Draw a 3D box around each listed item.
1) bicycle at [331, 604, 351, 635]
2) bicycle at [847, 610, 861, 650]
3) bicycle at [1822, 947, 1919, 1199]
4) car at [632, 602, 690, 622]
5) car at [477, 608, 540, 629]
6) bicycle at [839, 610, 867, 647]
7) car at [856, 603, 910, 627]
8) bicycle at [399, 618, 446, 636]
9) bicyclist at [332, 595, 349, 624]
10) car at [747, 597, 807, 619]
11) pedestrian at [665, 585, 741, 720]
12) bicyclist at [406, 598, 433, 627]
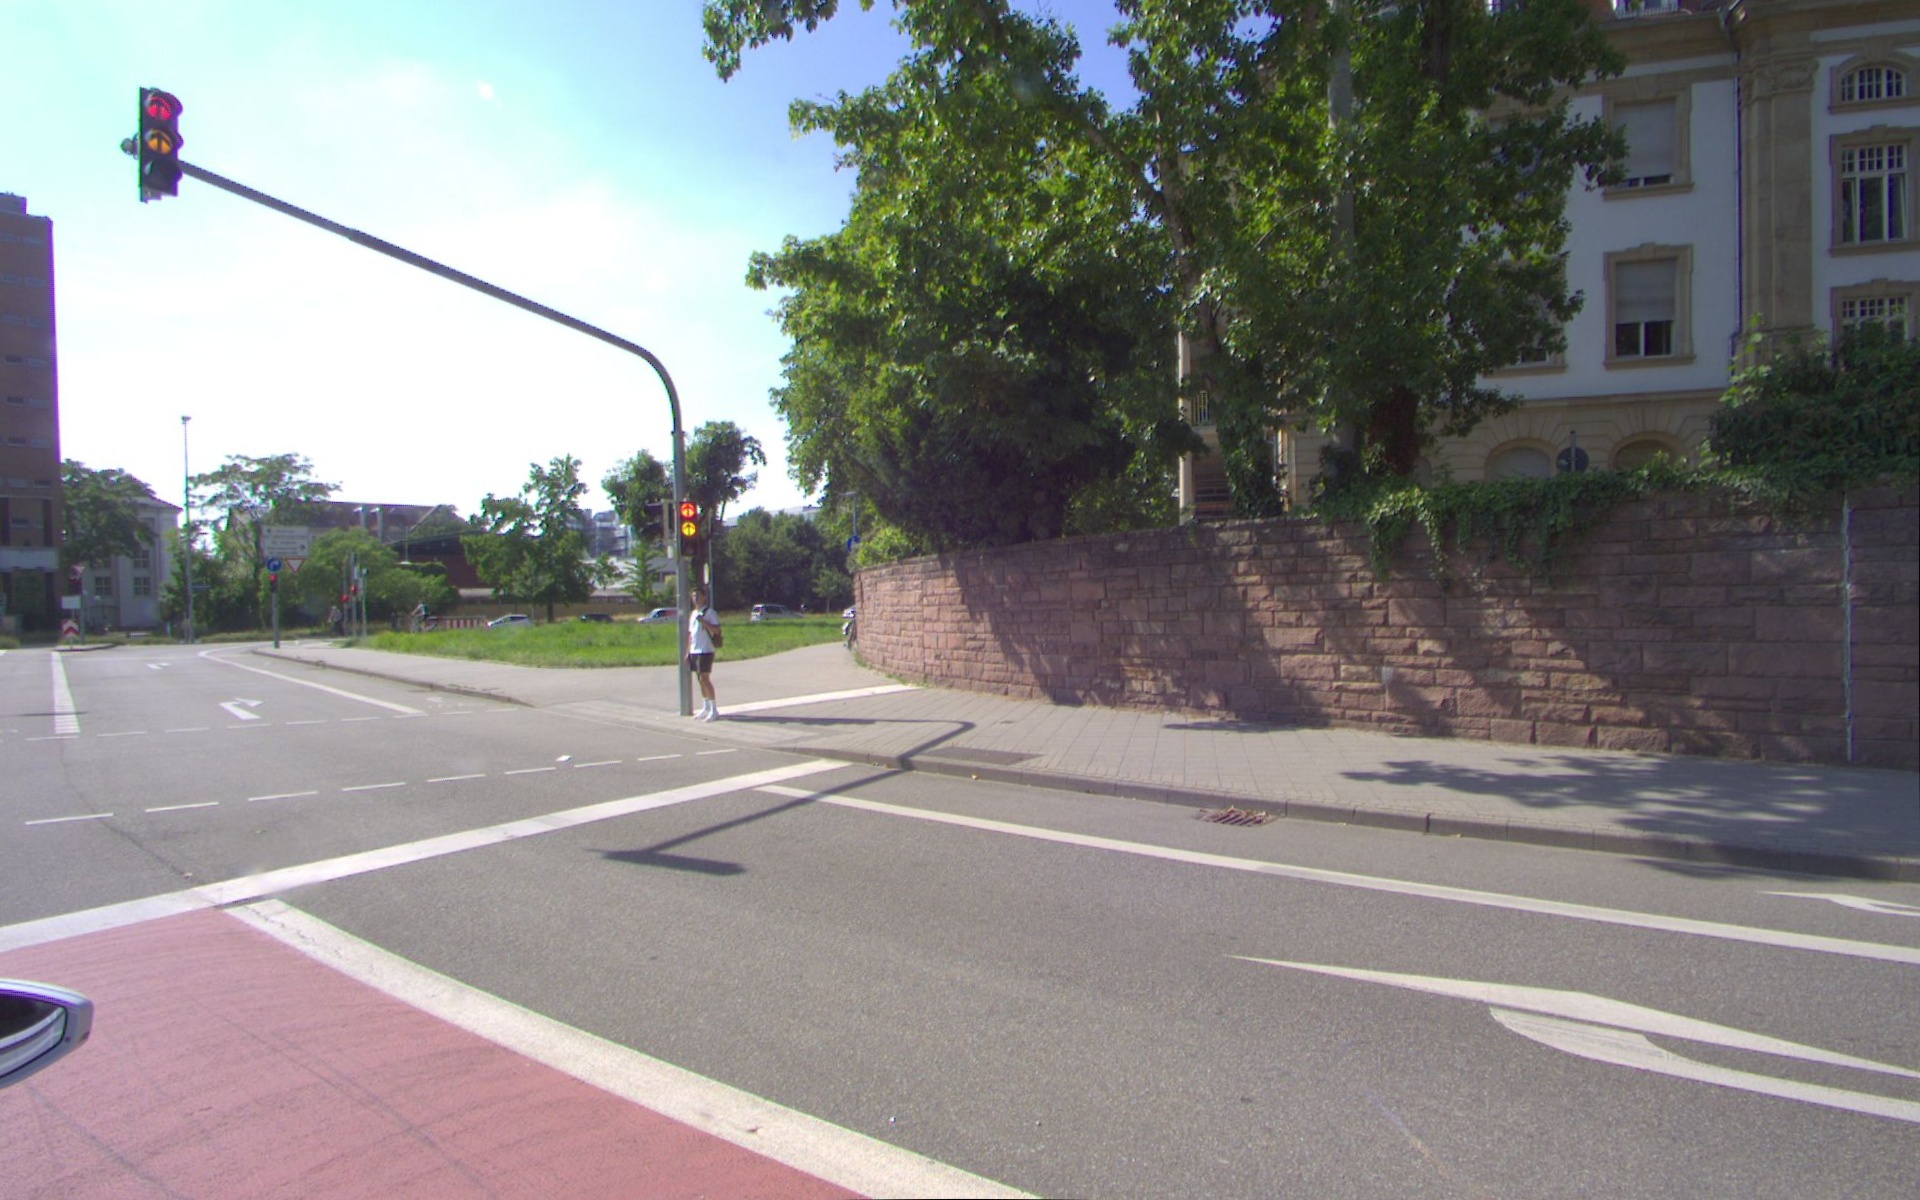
[{"bbox_3d":[-36.246,1.112,58.618,0.673,1.789,1.794,-2,1,-42],"label":"bicycle"},{"bbox_3d":[-3.156,0.875,29.768,0.342,1.138,1.434,-1,1,-8],"label":"bicycle"},{"bbox_3d":[2.039,0.997,0.775,1.999,0.943,0.595,-1,-1,32],"label":"bicycle"},{"bbox_3d":[-25.219,0.992,84.586,4.279,1.590,1.892,-1,1,-43],"label":"car"},{"bbox_3d":[-34.590,1.402,76.785,3.958,1.483,1.982,-1,-1,-43],"label":"car"},{"bbox_3d":[-3.363,0.878,31.386,0.344,1.138,1.428,-2,1,-28],"label":"bicycle"},{"bbox_3d":[-6.045,1.202,78.850,3.963,1.526,1.737,6,-5,-42],"label":"car"},{"bbox_3d":[-28.155,1.413,52.442,2.127,0.928,0.674,-1,1,5],"label":"bicycle"},{"bbox_3d":[-36.267,0.572,58.642,0.673,1.678,0.910,-2,2,-42],"label":"bicyclist"},{"bbox_3d":[-13.338,0.581,72.963,3.958,1.528,1.736,-2,1,-42],"label":"car"},{"bbox_3d":[-3.744,0.743,14.613,0.784,1.900,0.650,0,3,29],"label":"pedestrian"},{"bbox_3d":[-28.278,0.658,52.407,1.120,1.489,0.496,0,-1,6],"label":"bicyclist"}]
